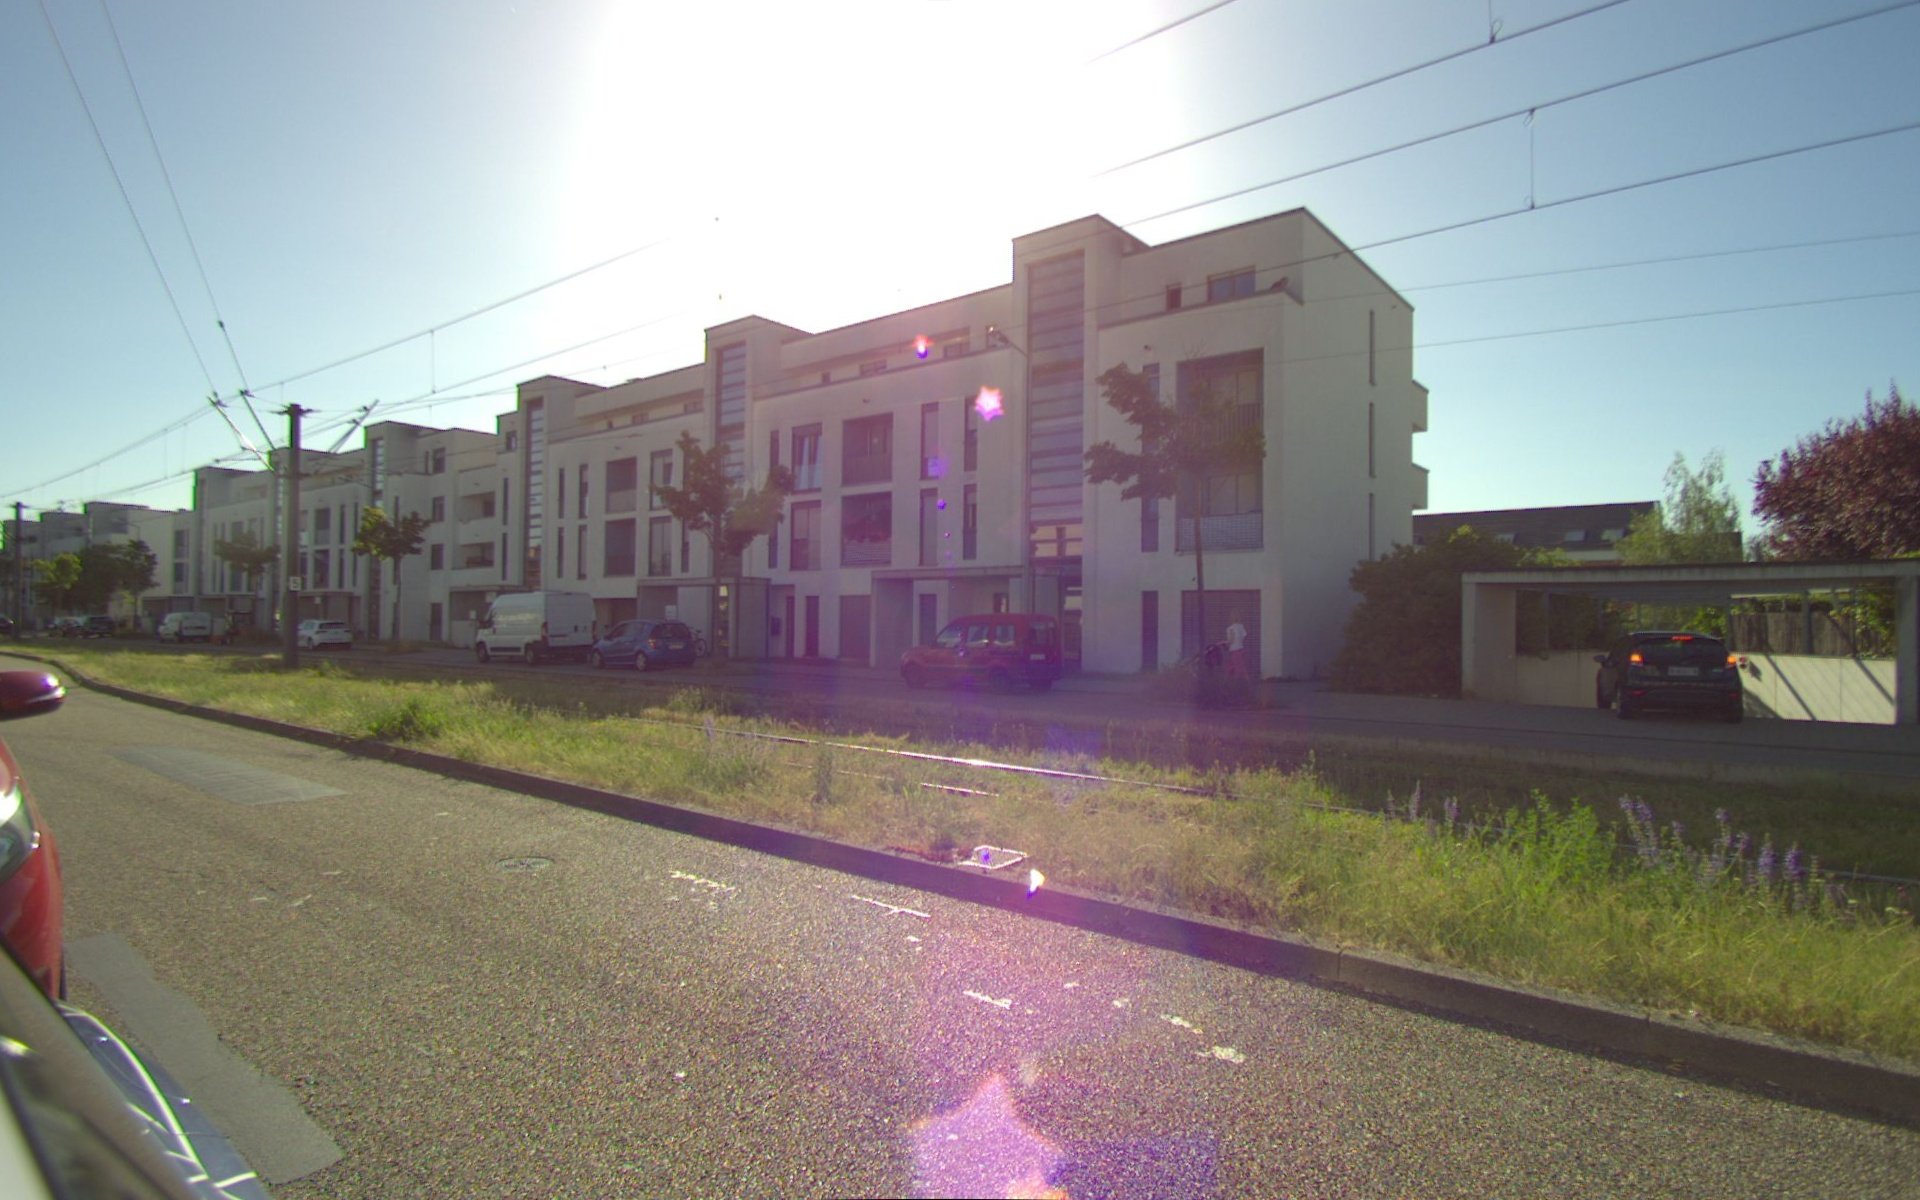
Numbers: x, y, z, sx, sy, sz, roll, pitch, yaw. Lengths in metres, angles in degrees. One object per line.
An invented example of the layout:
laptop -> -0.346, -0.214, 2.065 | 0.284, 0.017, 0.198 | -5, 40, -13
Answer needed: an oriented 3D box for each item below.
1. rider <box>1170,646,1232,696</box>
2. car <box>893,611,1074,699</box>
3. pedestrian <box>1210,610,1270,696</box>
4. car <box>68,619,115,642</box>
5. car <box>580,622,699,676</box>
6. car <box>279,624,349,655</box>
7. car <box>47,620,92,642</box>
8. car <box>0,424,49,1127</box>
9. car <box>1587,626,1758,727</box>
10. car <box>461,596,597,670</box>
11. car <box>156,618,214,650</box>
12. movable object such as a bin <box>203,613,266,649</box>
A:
rider -> 5.260, 1.533, 22.091 | 0.768, 1.010, 1.046 | 0, -1, -43
car -> 0.480, 1.176, 23.011 | 3.836, 1.809, 1.861 | -1, -1, 42
pedestrian -> 5.916, 1.091, 21.367 | 0.806, 1.761, 0.910 | 0, -1, -43
car -> -63.044, 2.200, 73.425 | 4.149, 1.611, 1.745 | -1, -1, 37
car -> -10.061, 1.484, 31.680 | 3.840, 1.548, 1.805 | -1, -1, 41
car -> -31.175, 1.885, 48.824 | 4.149, 1.443, 1.503 | -1, -1, 37
car -> -67.564, 2.333, 76.796 | 4.149, 1.611, 1.745 | -1, -1, 37
car -> -5.181, 0.538, 3.881 | 5.203, 1.948, 1.954 | -1, 0, 42
car -> 12.022, 1.205, 17.316 | 1.699, 1.441, 3.709 | 1, 0, 24
car -> -15.443, 1.135, 36.102 | 5.583, 2.463, 2.119 | -1, -1, 39
car -> -47.233, 2.074, 61.666 | 4.149, 1.884, 1.745 | -1, -1, 37
movable object such as a bin -> -41.239, 1.761, 57.480 | 4.149, 1.952, 1.745 | -1, -1, 37
